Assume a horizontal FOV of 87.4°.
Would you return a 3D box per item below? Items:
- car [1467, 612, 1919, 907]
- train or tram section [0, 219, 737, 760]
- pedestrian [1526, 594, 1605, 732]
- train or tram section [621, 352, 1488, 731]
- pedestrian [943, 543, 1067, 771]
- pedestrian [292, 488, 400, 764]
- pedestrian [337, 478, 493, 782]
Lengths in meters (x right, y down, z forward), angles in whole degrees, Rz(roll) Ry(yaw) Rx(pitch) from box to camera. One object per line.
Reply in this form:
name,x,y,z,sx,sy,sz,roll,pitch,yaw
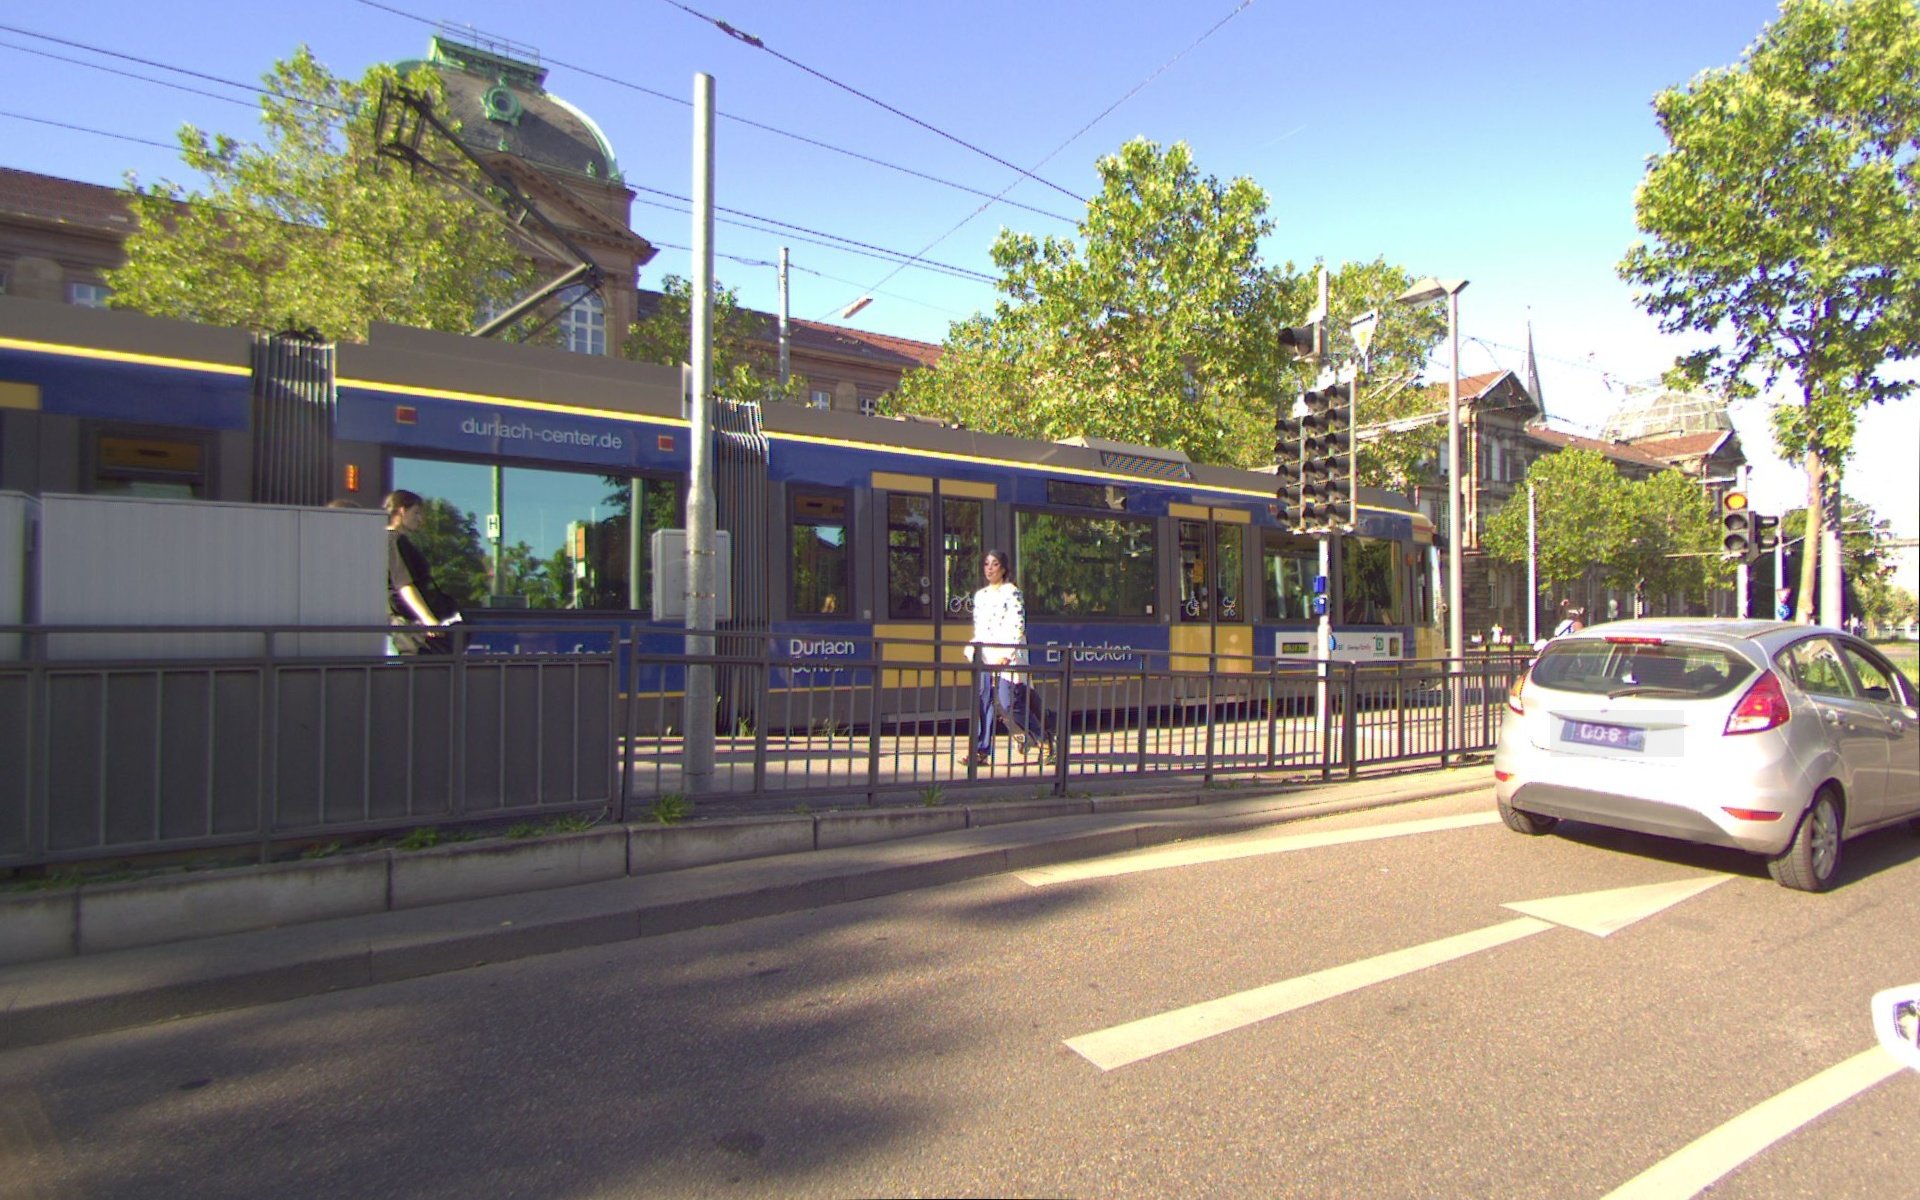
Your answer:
car,5.167,0.844,6.634,3.592,1.428,1.651,2,0,-33
train or tram section,-9.292,-0.807,5.563,15.730,3.303,2.896,3,0,-34
pedestrian,7.196,0.734,11.944,0.641,1.577,0.626,1,-1,-38
train or tram section,2.399,-0.302,13.707,12.984,3.303,2.895,3,0,-35
pedestrian,0.343,0.434,7.679,0.635,1.640,0.635,4,-3,-37
pedestrian,-4.090,0.175,6.686,0.541,1.724,0.604,1,-2,-37
pedestrian,-3.359,0.182,6.191,0.740,1.724,0.628,1,-2,-38
